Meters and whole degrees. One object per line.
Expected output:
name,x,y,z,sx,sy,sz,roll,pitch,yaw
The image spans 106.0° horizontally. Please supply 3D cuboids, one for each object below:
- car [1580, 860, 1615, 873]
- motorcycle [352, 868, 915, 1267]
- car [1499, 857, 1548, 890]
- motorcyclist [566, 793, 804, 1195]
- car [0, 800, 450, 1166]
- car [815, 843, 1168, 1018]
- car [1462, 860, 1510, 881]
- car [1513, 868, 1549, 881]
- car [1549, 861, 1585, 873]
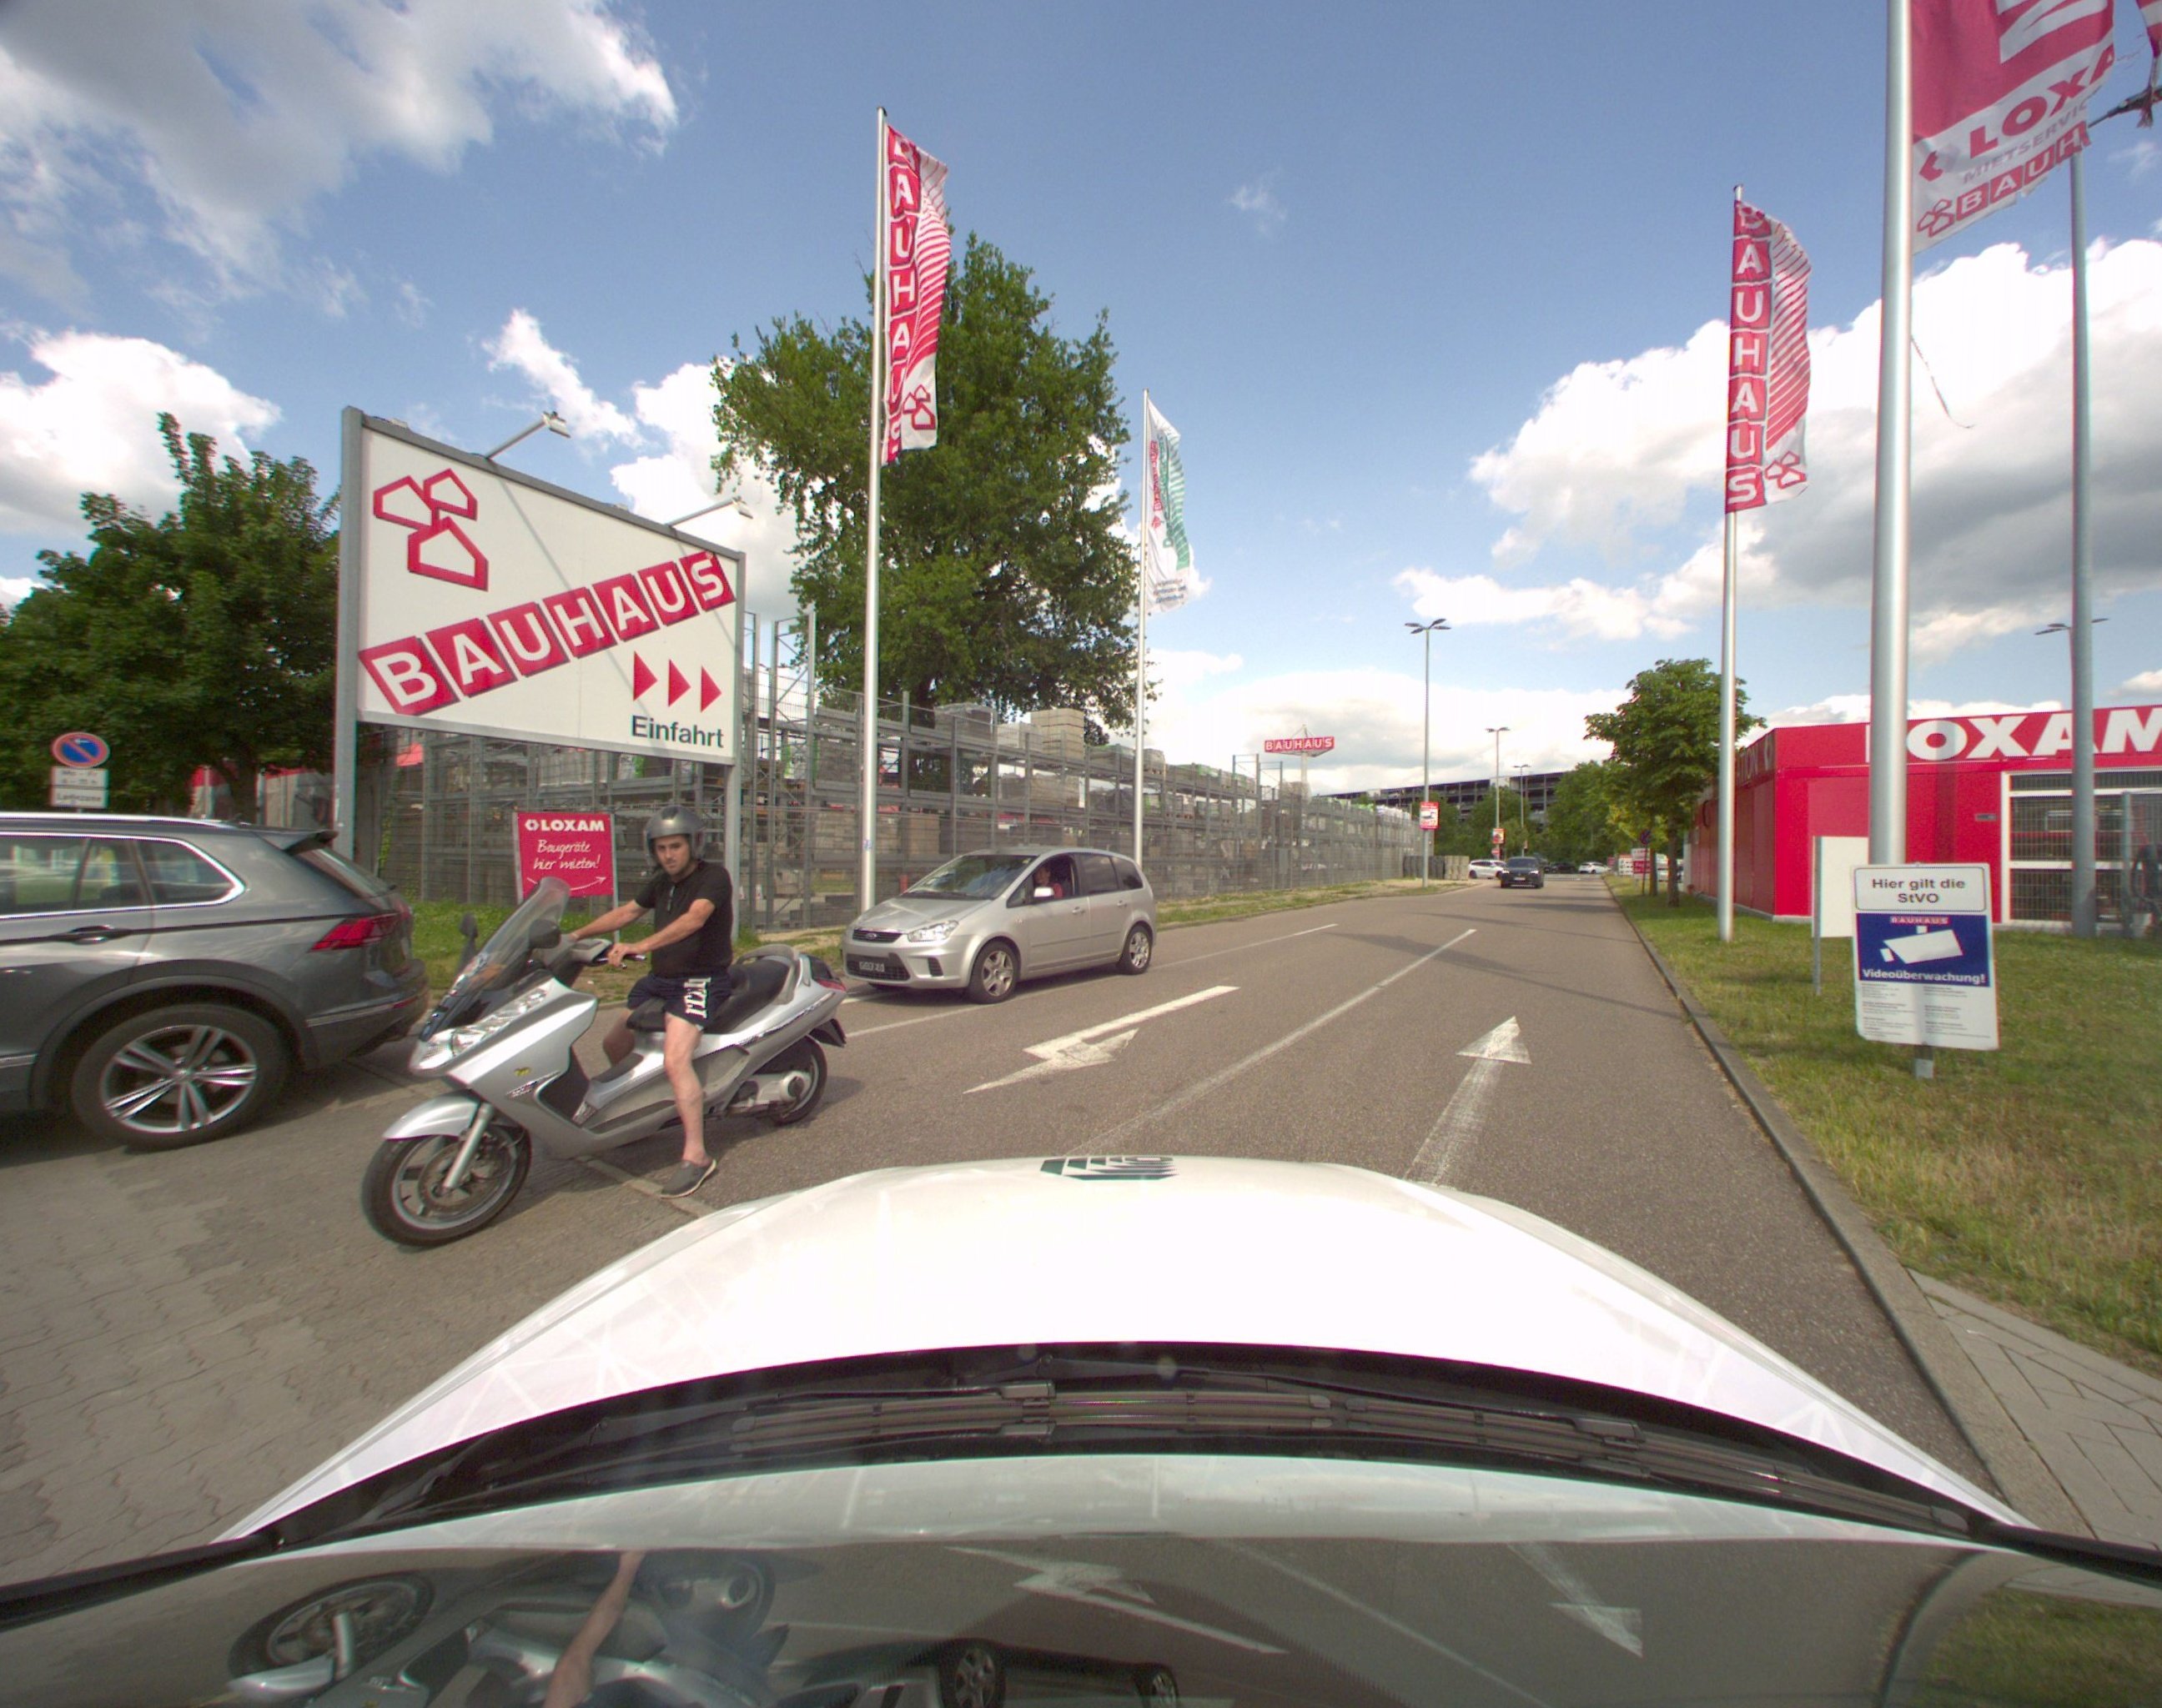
car,60.512,1.475,95.374,3.556,1.411,1.660,1,-1,-19
motorcycle,-1.844,0.728,3.811,0.663,1.306,2.227,0,0,35
car,23.199,0.985,42.614,1.896,1.618,4.401,-1,0,33
motorcyclist,-1.845,0.566,3.814,0.779,1.629,0.691,0,-1,35
car,-5.928,0.597,4.009,4.408,1.665,1.749,-2,2,-39
car,-0.774,0.695,9.497,1.701,1.564,4.236,0,0,35
car,30.494,1.208,61.423,1.541,1.515,2.862,1,0,-38
car,57.718,2.614,104.494,4.082,1.510,1.678,1,-6,-21
car,59.309,1.566,99.360,4.247,1.410,1.720,1,-1,-24
